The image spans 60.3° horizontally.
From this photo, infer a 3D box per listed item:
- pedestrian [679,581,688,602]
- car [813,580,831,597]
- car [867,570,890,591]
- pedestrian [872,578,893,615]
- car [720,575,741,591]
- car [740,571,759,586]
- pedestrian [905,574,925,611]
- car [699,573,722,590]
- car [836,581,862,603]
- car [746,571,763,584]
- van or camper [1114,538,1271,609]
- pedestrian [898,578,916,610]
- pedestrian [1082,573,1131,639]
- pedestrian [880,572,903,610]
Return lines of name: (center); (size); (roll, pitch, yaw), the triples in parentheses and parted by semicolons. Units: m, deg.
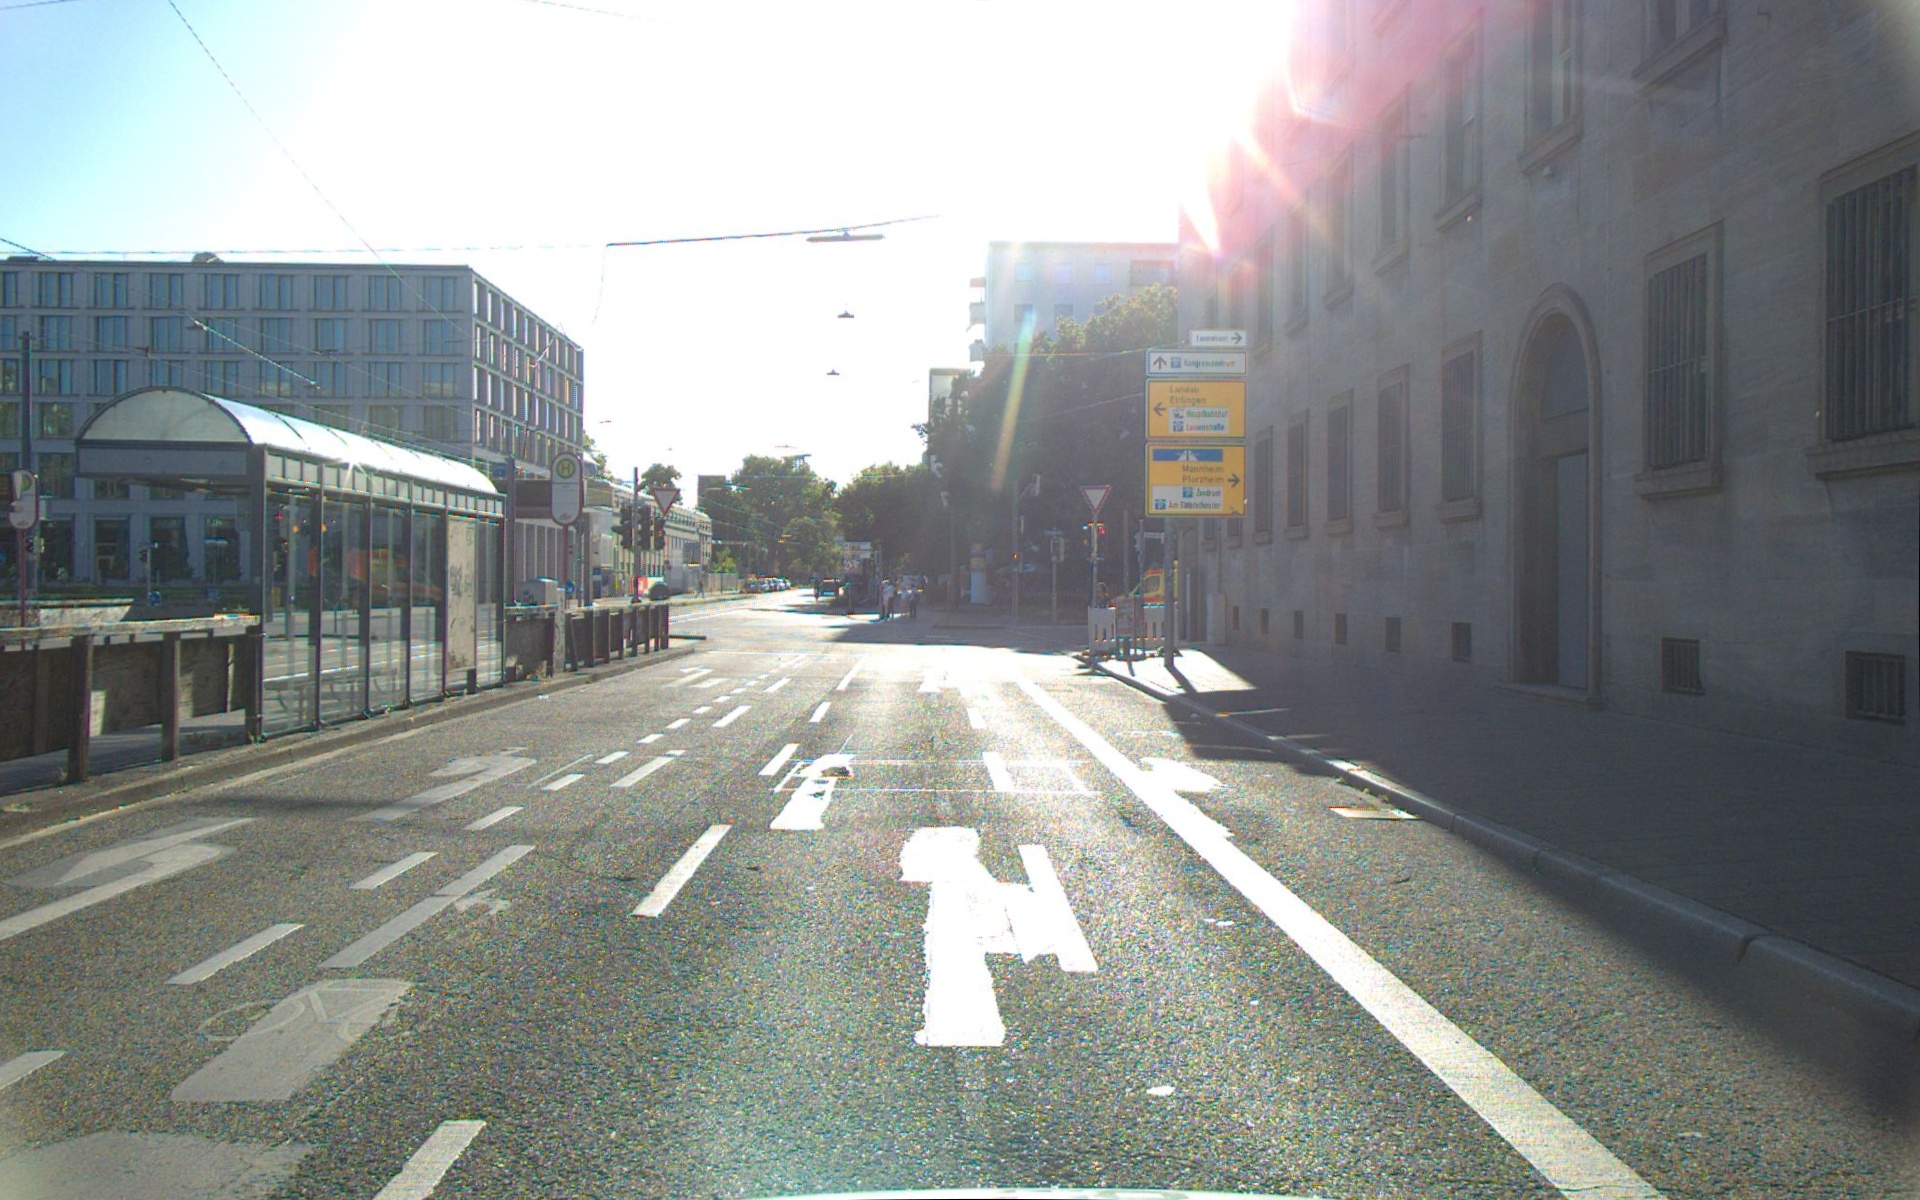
pedestrian: (-17.354, -0.538, 103.735); (0.501, 1.352, 0.369); (0, 0, 0)
car: (-14.573, -1.228, 174.754); (1.650, 1.768, 3.508); (1, 0, -1)
car: (-6.212, -1.455, 126.164); (1.650, 1.527, 3.508); (1, 0, -1)
pedestrian: (-3.784, -0.182, 80.876); (0.834, 1.815, 0.776); (-1, 1, -17)
car: (-24.702, -1.839, 178.259); (1.782, 1.742, 3.805); (0, 1, -1)
car: (-24.141, -2.456, 190.072); (1.782, 1.742, 3.805); (0, 1, -1)
pedestrian: (-2.193, -0.364, 80.476); (0.834, 1.815, 0.776); (-1, 1, -17)
car: (-25.206, -1.895, 167.176); (1.782, 1.742, 3.805); (0, 1, -1)
car: (-7.838, -0.564, 117.045); (1.650, 1.527, 3.508); (1, 0, -1)
car: (-24.044, -2.621, 193.680); (1.577, 1.524, 3.805); (0, 1, -1)
van or camper: (10.172, -1.140, 72.763); (6.568, 2.911, 2.912); (2, 0, 3)
pedestrian: (-2.609, -0.293, 81.226); (0.750, 1.585, 0.585); (-1, 1, -18)
pedestrian: (3.915, 0.151, 44.289); (1.021, 1.751, 1.032); (-1, 1, -13)
pedestrian: (-3.291, -0.424, 79.353); (0.951, 1.815, 0.776); (-1, 1, -18)
